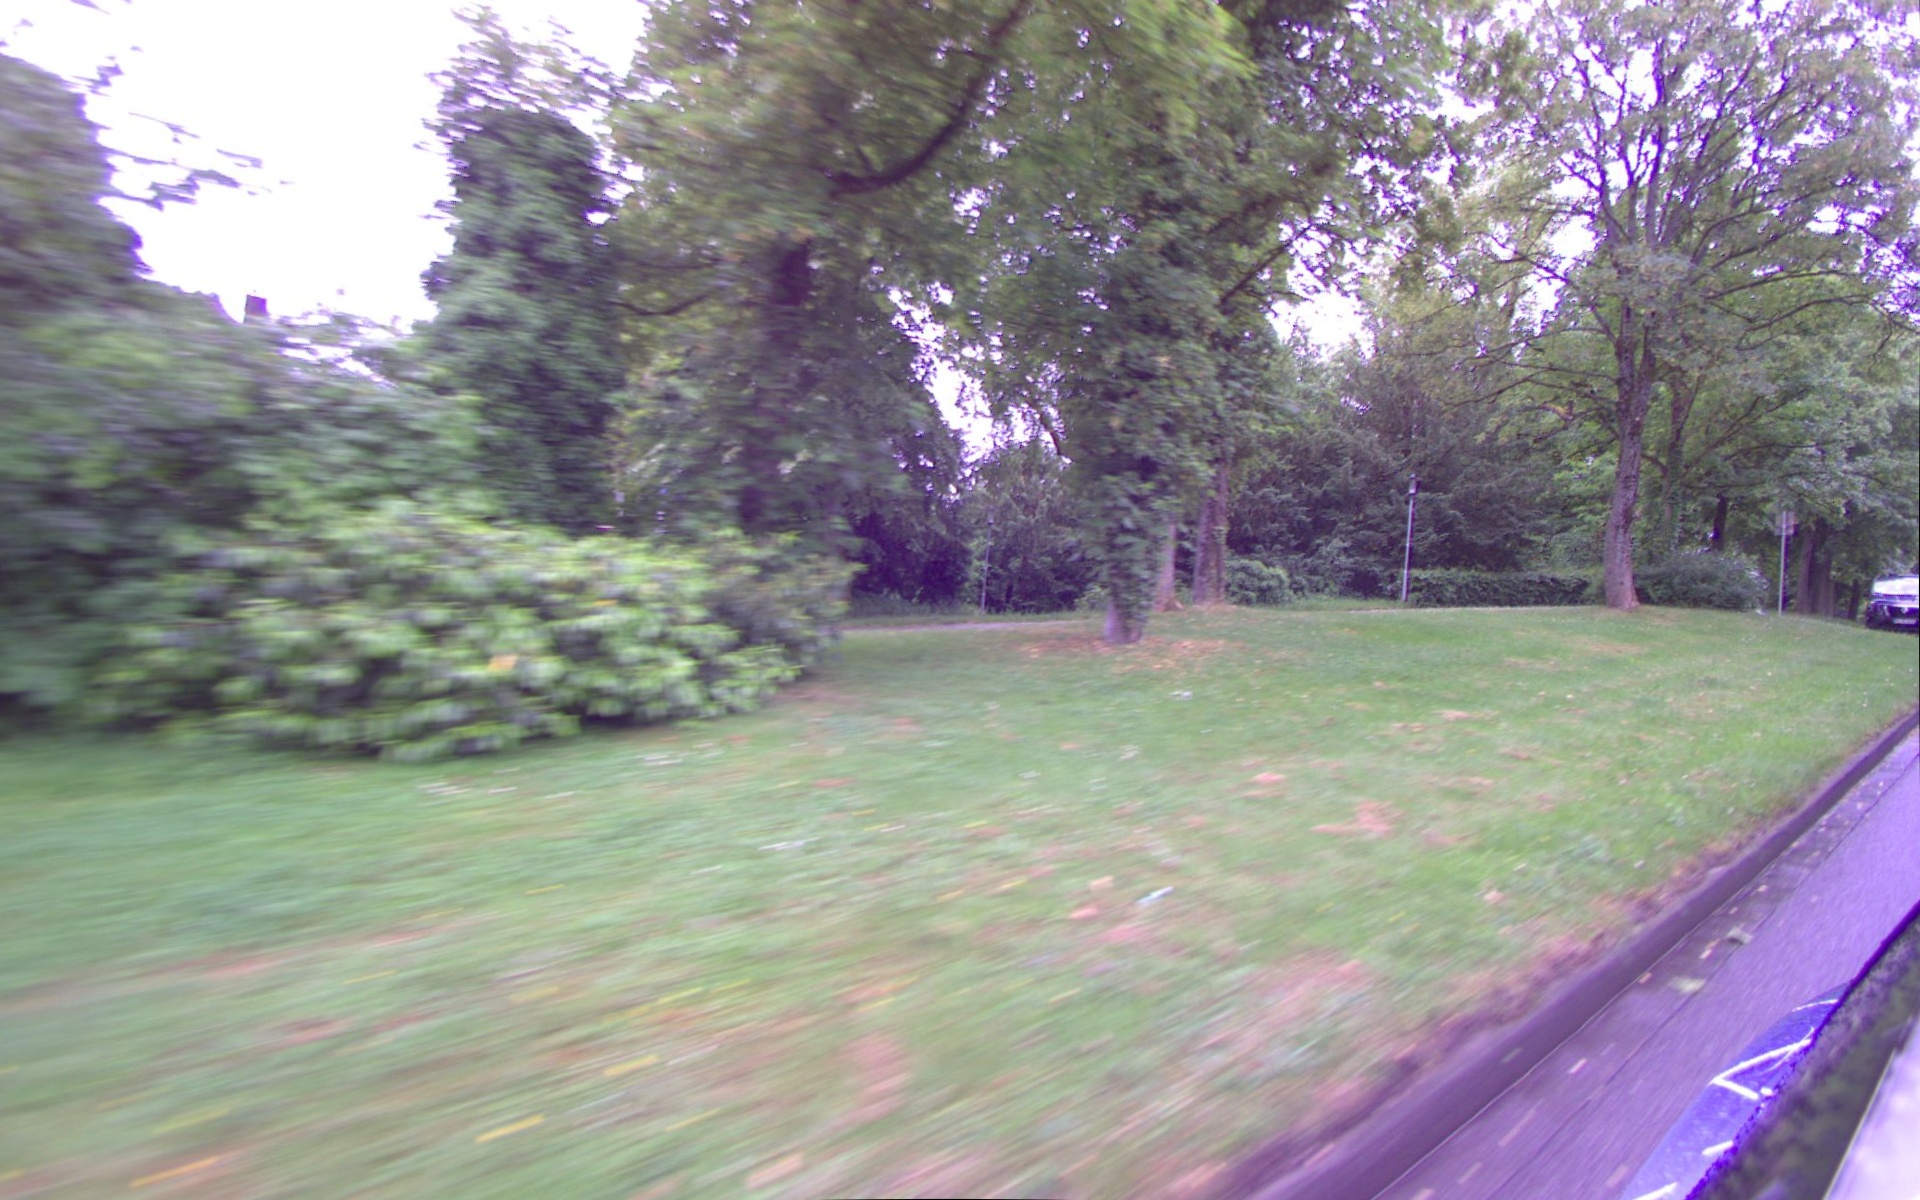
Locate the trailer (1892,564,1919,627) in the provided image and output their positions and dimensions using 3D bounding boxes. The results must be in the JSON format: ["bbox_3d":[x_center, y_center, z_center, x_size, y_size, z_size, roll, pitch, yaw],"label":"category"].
[{"bbox_3d":[33.643,-0.129,35.020,3.884,2.079,1.699,0,2,-43],"label":"trailer"}]

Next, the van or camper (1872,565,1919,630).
[{"bbox_3d":[30.226,-0.044,31.626,5.569,1.891,1.997,0,3,-43],"label":"van or camper"}]
